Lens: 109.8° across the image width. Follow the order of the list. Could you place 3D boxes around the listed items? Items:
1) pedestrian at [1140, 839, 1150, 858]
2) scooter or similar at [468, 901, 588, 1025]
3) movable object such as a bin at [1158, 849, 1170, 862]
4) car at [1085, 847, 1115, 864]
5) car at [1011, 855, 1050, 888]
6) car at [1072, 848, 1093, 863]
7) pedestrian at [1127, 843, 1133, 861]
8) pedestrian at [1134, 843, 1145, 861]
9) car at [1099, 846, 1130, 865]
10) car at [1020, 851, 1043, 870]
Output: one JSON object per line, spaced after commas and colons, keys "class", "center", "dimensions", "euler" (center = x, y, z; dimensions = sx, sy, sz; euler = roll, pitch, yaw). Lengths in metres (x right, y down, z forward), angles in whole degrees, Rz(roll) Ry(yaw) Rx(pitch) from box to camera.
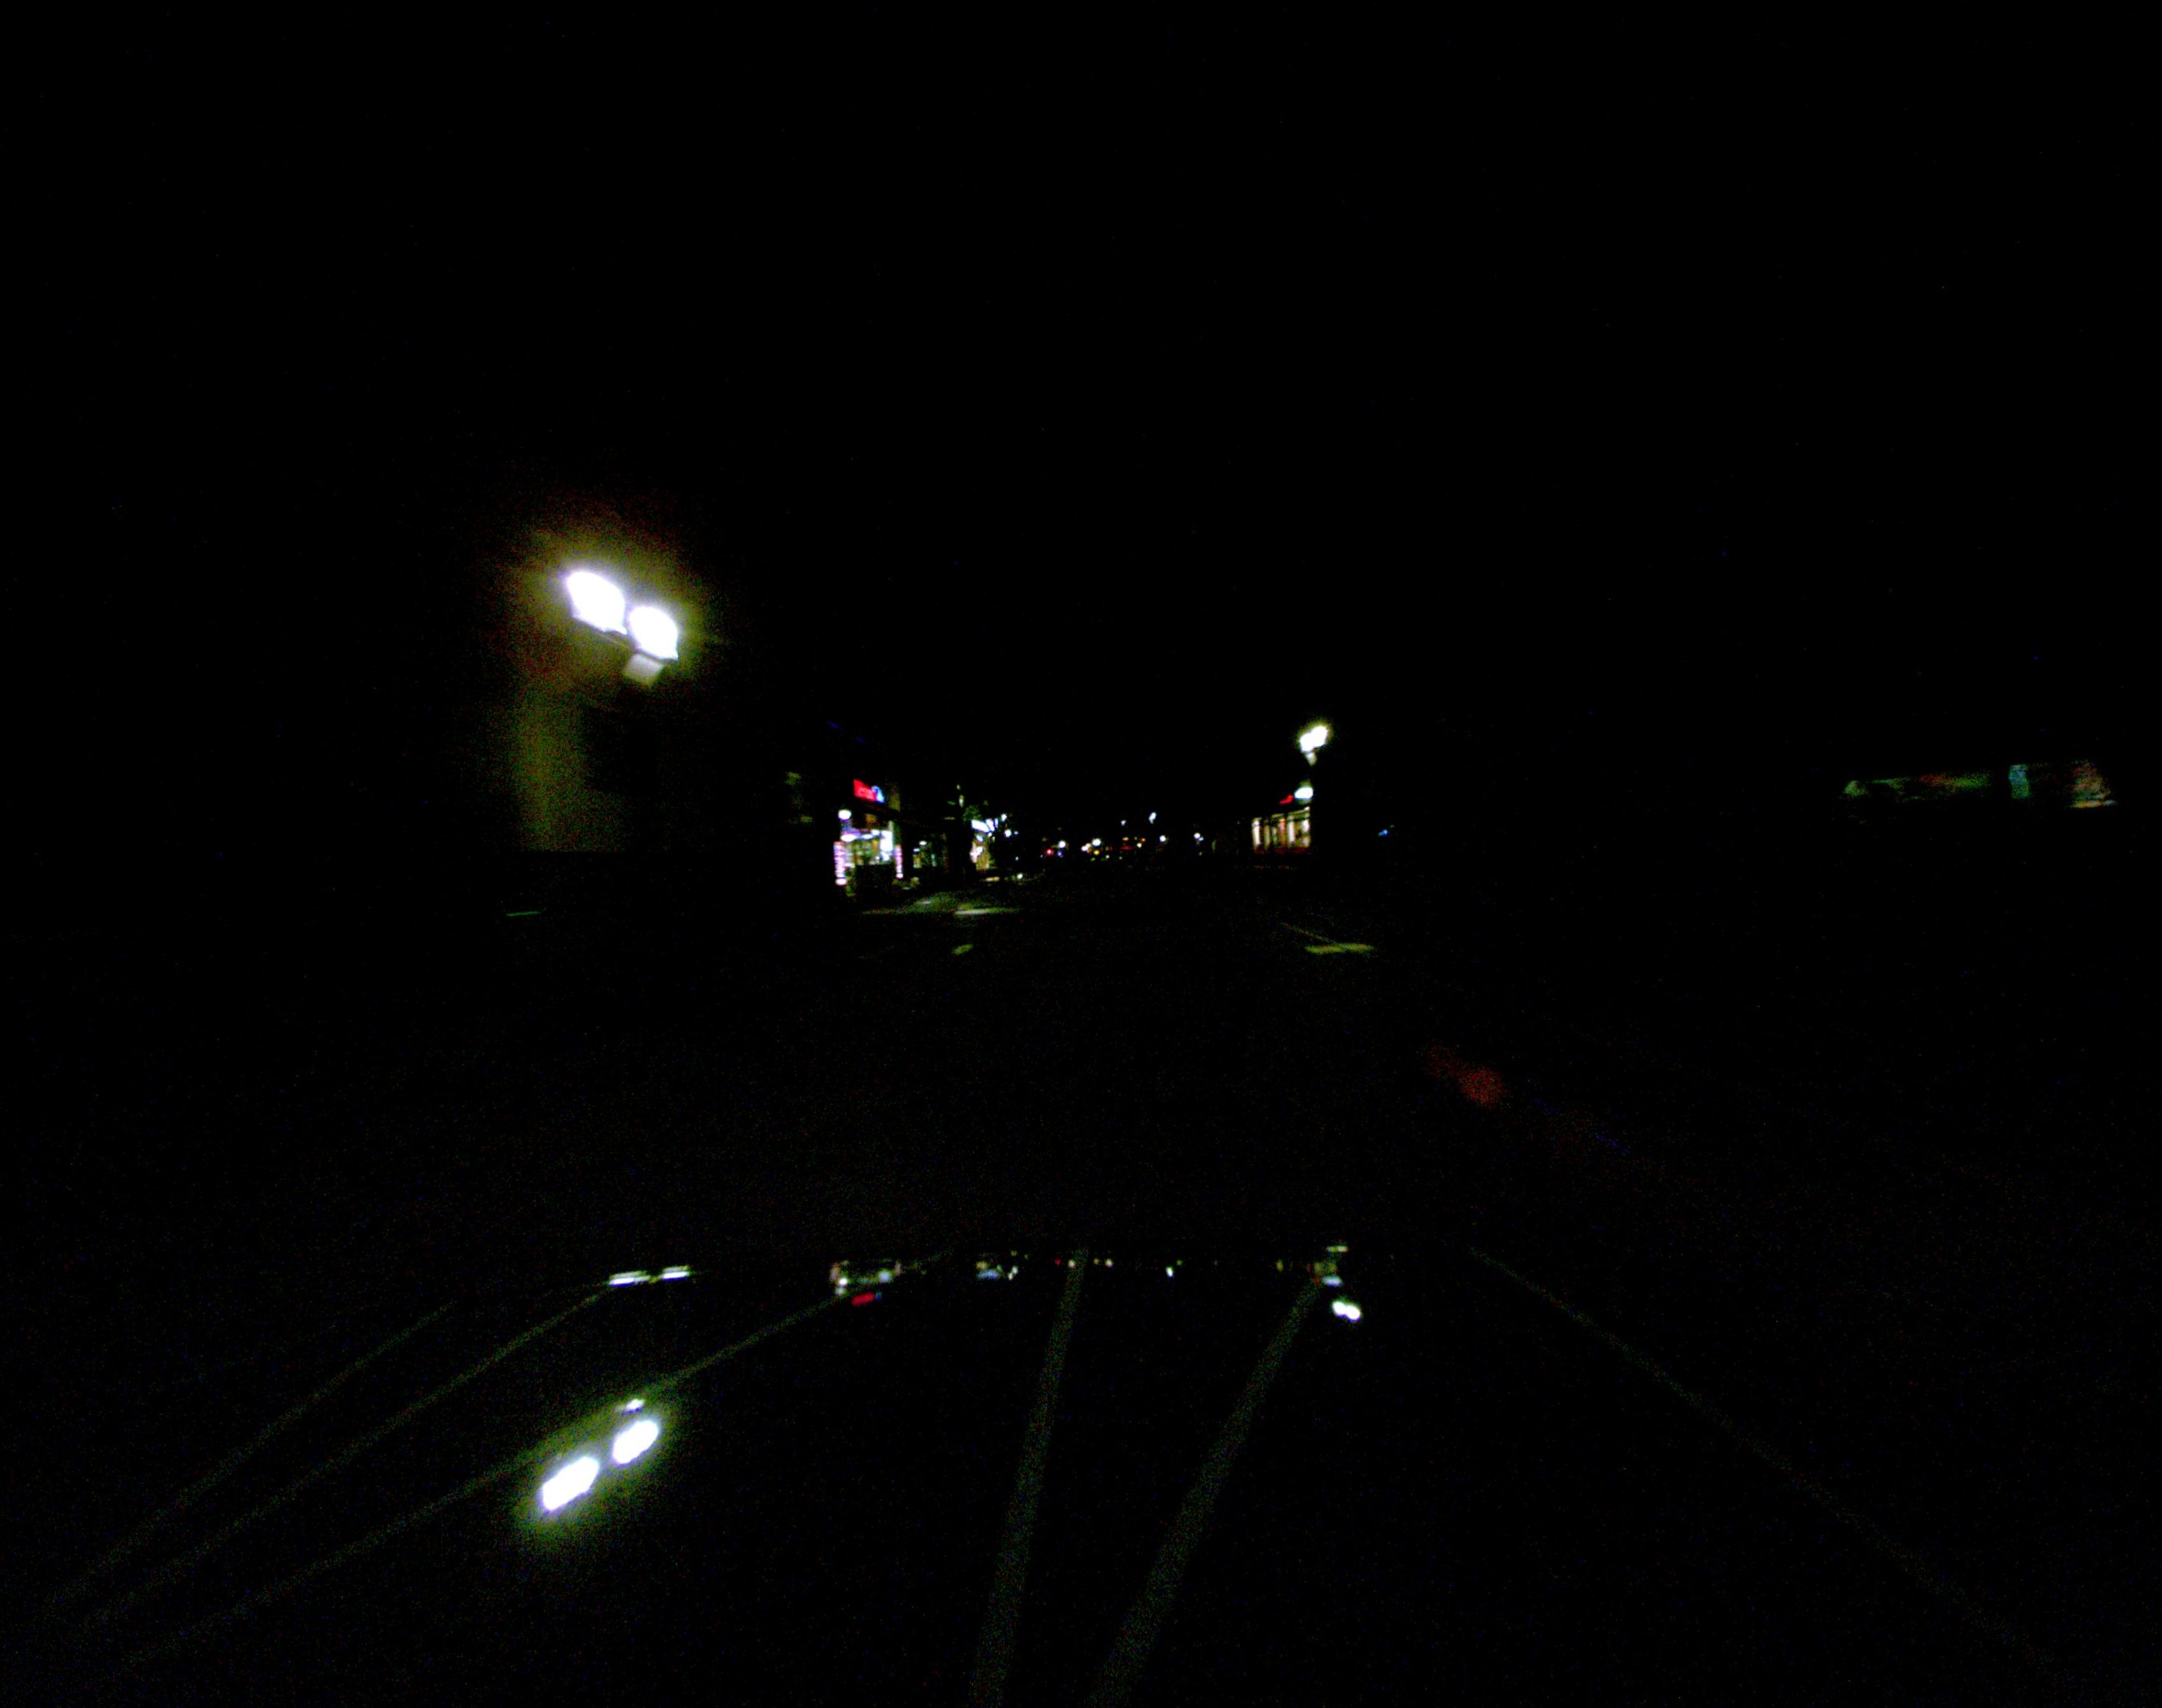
{"class": "pedestrian", "center": [6.549, -0.549, 77.923], "dimensions": [0.793, 1.807, 1.024], "euler": [-4, 1, 14]}
{"class": "scooter or similar", "center": [-6.630, 1.262, 9.177], "dimensions": [0.374, 1.269, 1.305], "euler": [-3, 2, 2]}
{"class": "movable object such as a bin", "center": [7.270, 0.112, 66.552], "dimensions": [0.749, 1.059, 0.791], "euler": [-3, 2, -10]}
{"class": "car", "center": [1.851, 0.183, 77.619], "dimensions": [1.911, 1.533, 4.777], "euler": [-4, 1, -12]}
{"class": "car", "center": [-2.524, 0.833, 37.893], "dimensions": [1.739, 1.432, 4.494], "euler": [-3, 0, -4]}
{"class": "car", "center": [0.140, 0.193, 88.354], "dimensions": [1.776, 1.565, 4.479], "euler": [-4, 1, -8]}
{"class": "pedestrian", "center": [5.034, -0.230, 78.451], "dimensions": [0.502, 1.812, 0.503], "euler": [-3, 2, 8]}
{"class": "pedestrian", "center": [6.058, -0.196, 78.521], "dimensions": [0.879, 1.821, 0.791], "euler": [-4, 2, 16]}
{"class": "car", "center": [3.097, 0.140, 71.503], "dimensions": [1.764, 1.628, 4.810], "euler": [-3, 0, -11]}
{"class": "car", "center": [-4.510, 0.575, 69.371], "dimensions": [1.747, 1.479, 4.632], "euler": [-3, 2, -7]}
